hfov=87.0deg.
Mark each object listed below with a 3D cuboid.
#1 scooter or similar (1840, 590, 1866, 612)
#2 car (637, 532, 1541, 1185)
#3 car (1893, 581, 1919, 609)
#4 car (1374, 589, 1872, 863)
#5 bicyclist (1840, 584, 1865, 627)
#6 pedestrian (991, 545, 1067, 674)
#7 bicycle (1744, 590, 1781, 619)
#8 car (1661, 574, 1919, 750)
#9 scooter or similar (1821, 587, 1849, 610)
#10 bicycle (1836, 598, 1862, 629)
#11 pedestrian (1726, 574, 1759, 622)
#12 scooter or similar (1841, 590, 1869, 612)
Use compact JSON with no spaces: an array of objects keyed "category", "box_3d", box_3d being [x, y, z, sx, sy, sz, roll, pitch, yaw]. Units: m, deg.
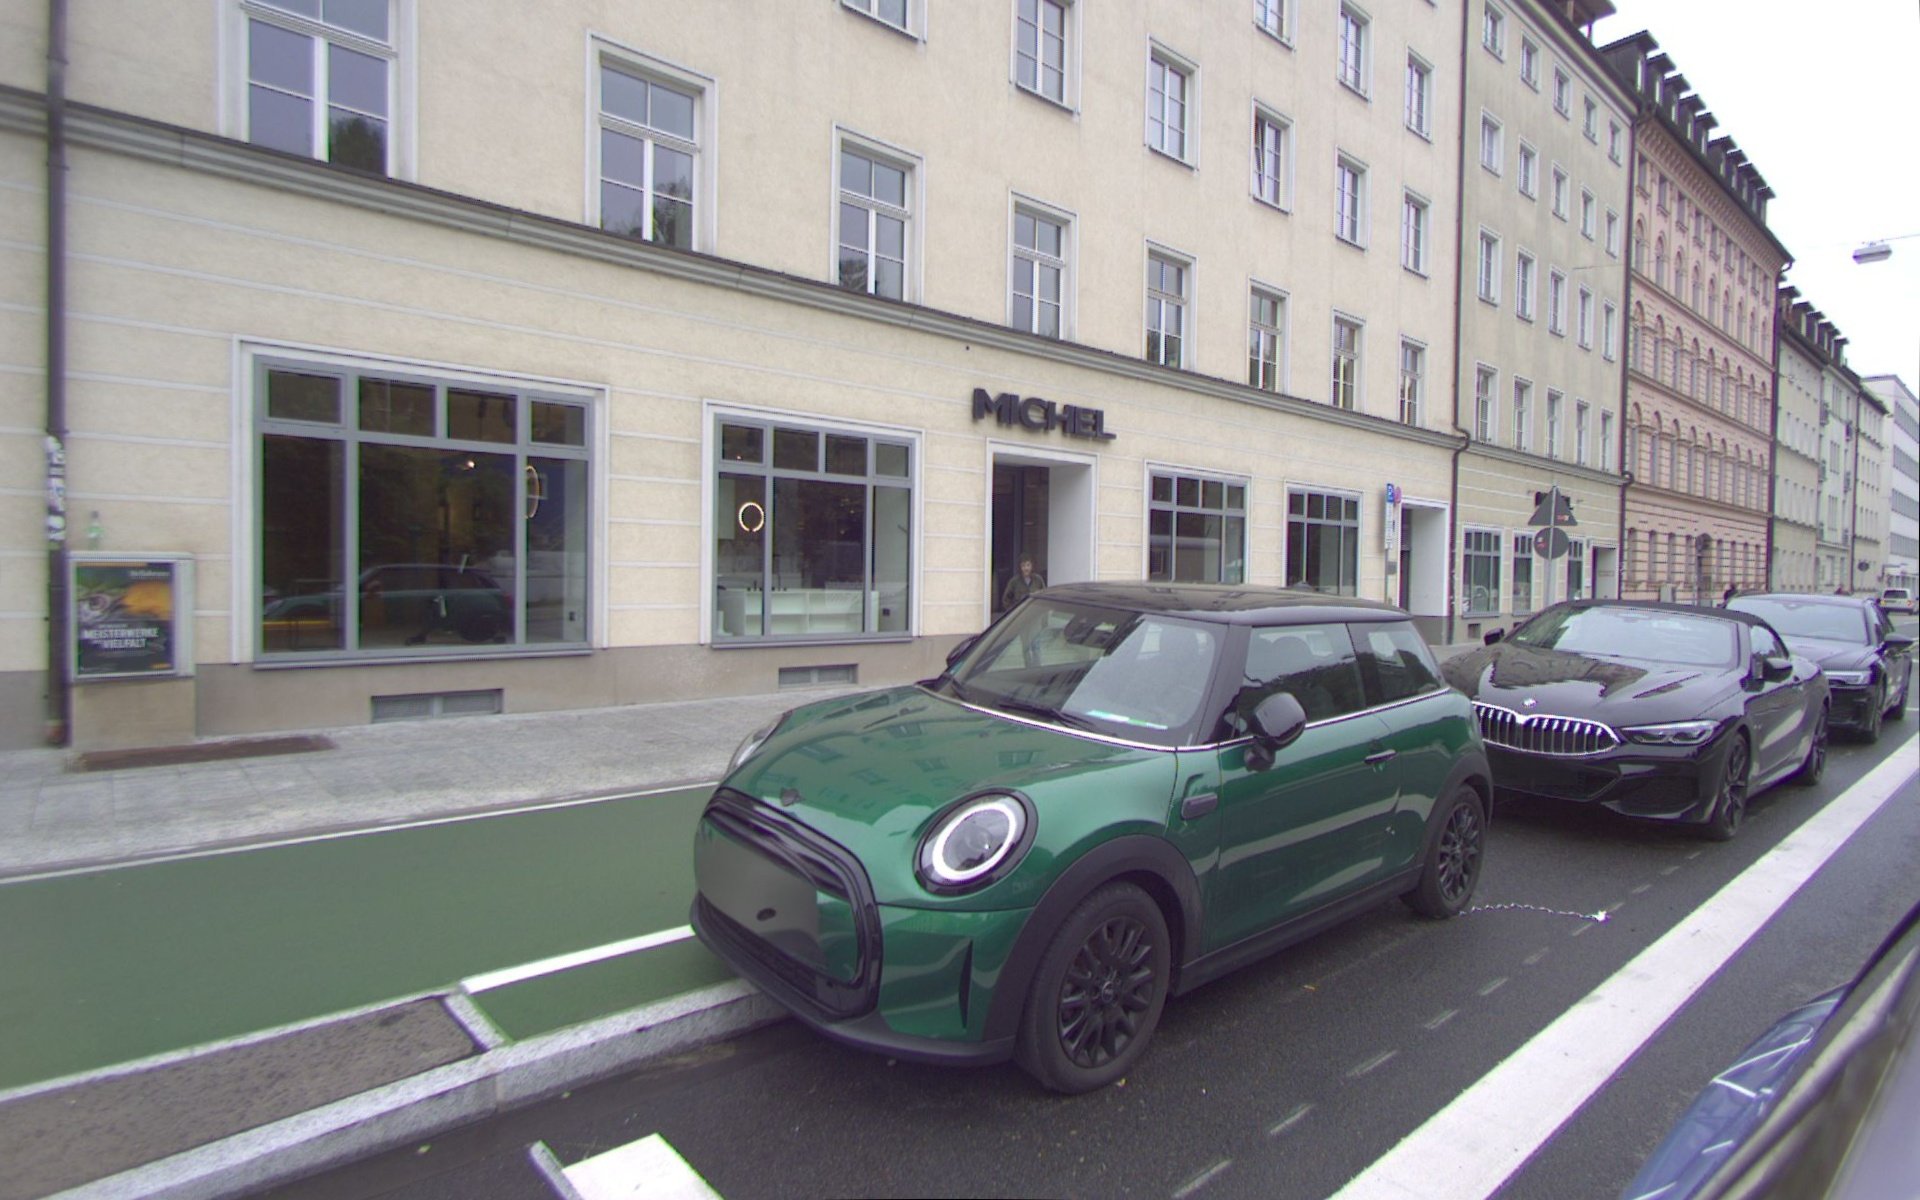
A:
[{"category":"scooter or similar","box_3d":[52.450,0.057,59.456,1.059,1.207,0.436,1,1,10]},{"category":"car","box_3d":[0.793,0.594,4.251,3.761,1.540,1.678,0,0,-40]},{"category":"car","box_3d":[65.166,-0.341,69.123,3.931,1.855,1.764,0,1,-42]},{"category":"car","box_3d":[5.082,0.639,7.466,4.636,1.425,1.829,0,0,-40]},{"category":"bicyclist","box_3d":[31.083,0.180,35.245,0.630,1.486,0.643,2,1,42]},{"category":"pedestrian","box_3d":[0.931,0.112,13.895,0.764,1.710,0.863,1,2,-15]},{"category":"bicycle","box_3d":[34.308,0.181,43.280,1.690,1.191,0.558,0,1,-27]},{"category":"car","box_3d":[9.688,0.553,11.519,4.386,1.498,1.812,0,5,-43]},{"category":"scooter or similar","box_3d":[47.887,-0.088,55.377,1.055,1.261,0.554,1,1,-6]},{"category":"bicycle","box_3d":[31.016,0.455,35.284,0.630,1.050,1.987,2,2,42]},{"category":"pedestrian","box_3d":[29.600,-0.074,38.282,0.819,1.767,0.795,0,1,-40]},{"category":"scooter or similar","box_3d":[51.642,0.058,58.381,1.063,1.207,0.451,1,1,20]}]
